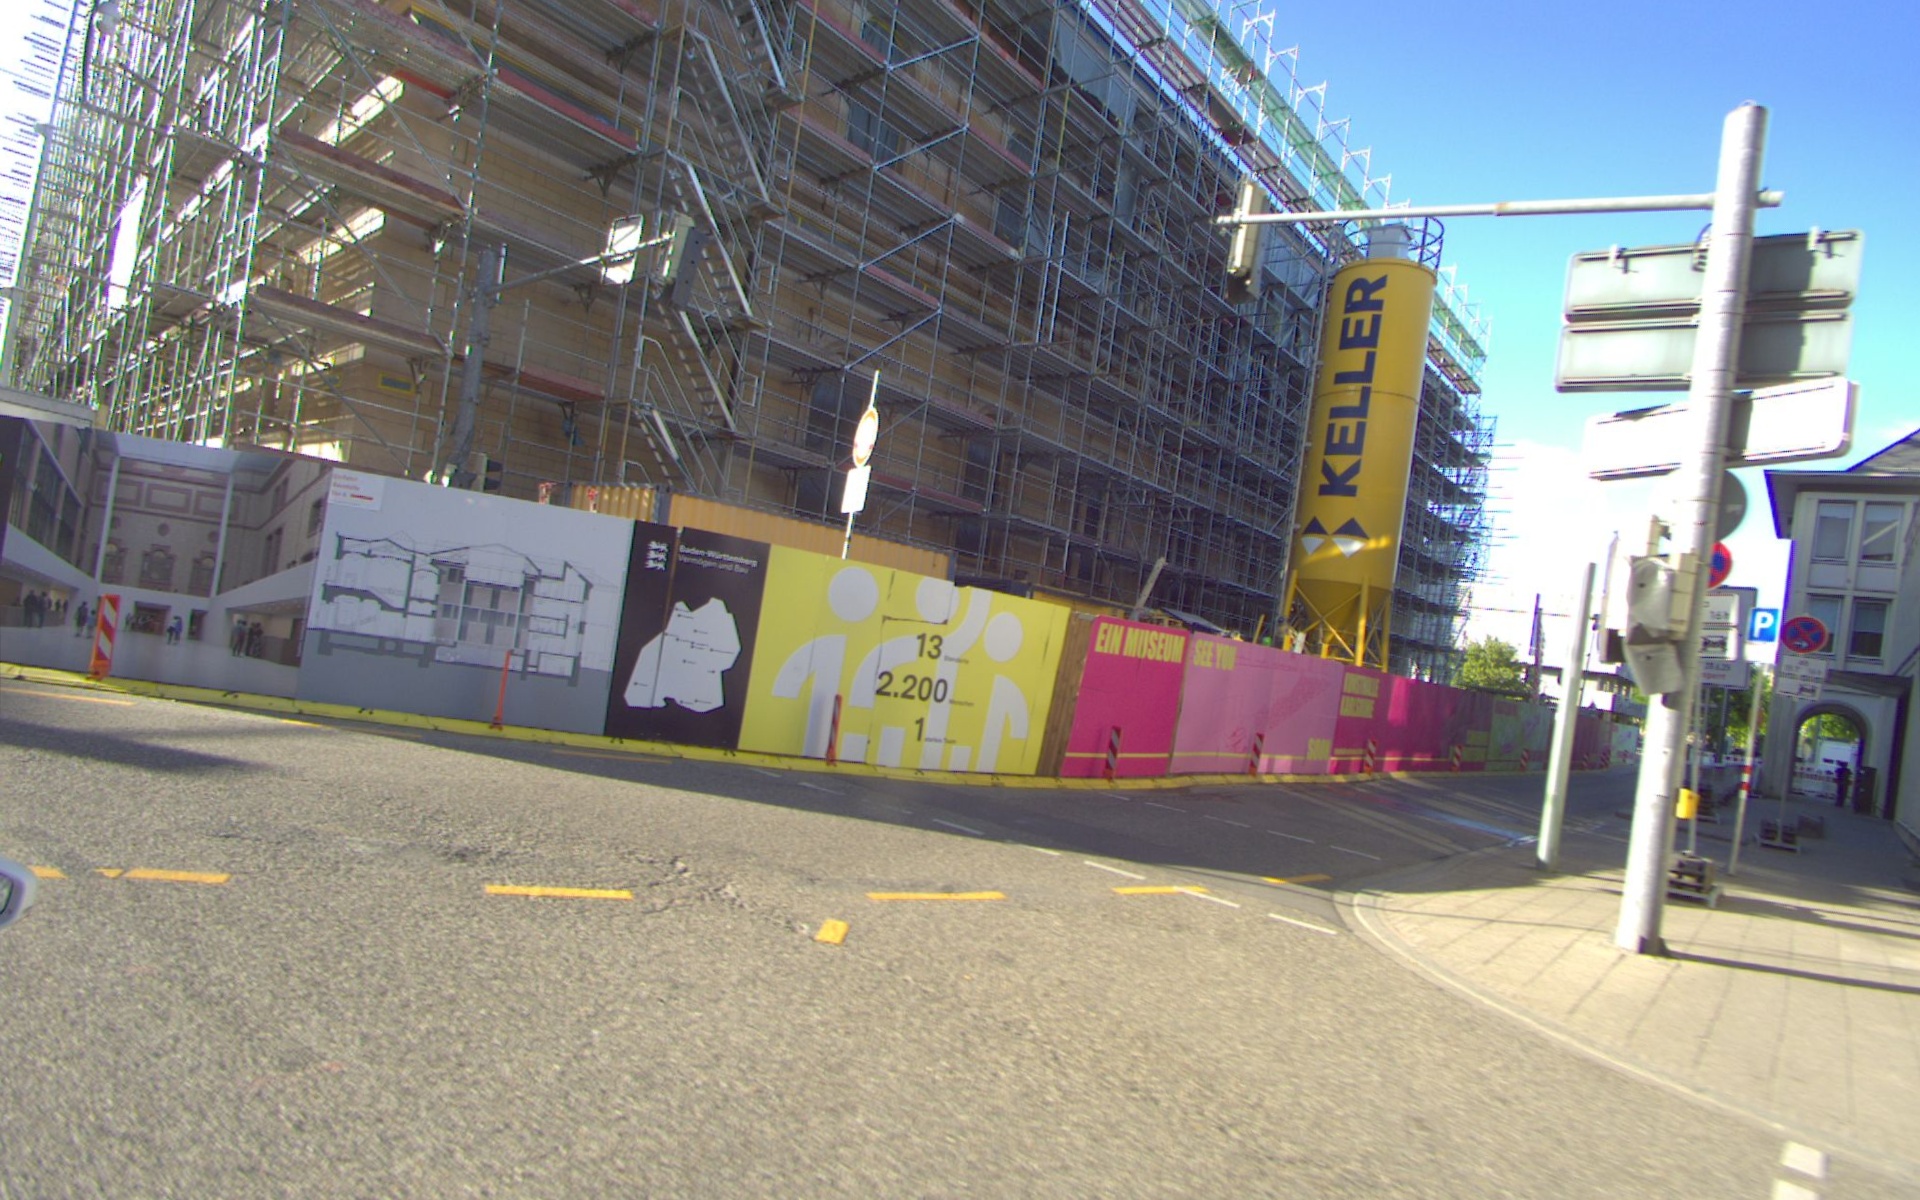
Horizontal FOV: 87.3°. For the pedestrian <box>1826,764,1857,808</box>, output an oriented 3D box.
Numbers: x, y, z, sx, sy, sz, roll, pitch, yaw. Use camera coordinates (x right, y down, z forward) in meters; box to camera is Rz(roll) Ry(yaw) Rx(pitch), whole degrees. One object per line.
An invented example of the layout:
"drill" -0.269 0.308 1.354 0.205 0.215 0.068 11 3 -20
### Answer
"pedestrian" 31.831 6.721 36.318 0.662 1.443 0.642 8 -1 40
